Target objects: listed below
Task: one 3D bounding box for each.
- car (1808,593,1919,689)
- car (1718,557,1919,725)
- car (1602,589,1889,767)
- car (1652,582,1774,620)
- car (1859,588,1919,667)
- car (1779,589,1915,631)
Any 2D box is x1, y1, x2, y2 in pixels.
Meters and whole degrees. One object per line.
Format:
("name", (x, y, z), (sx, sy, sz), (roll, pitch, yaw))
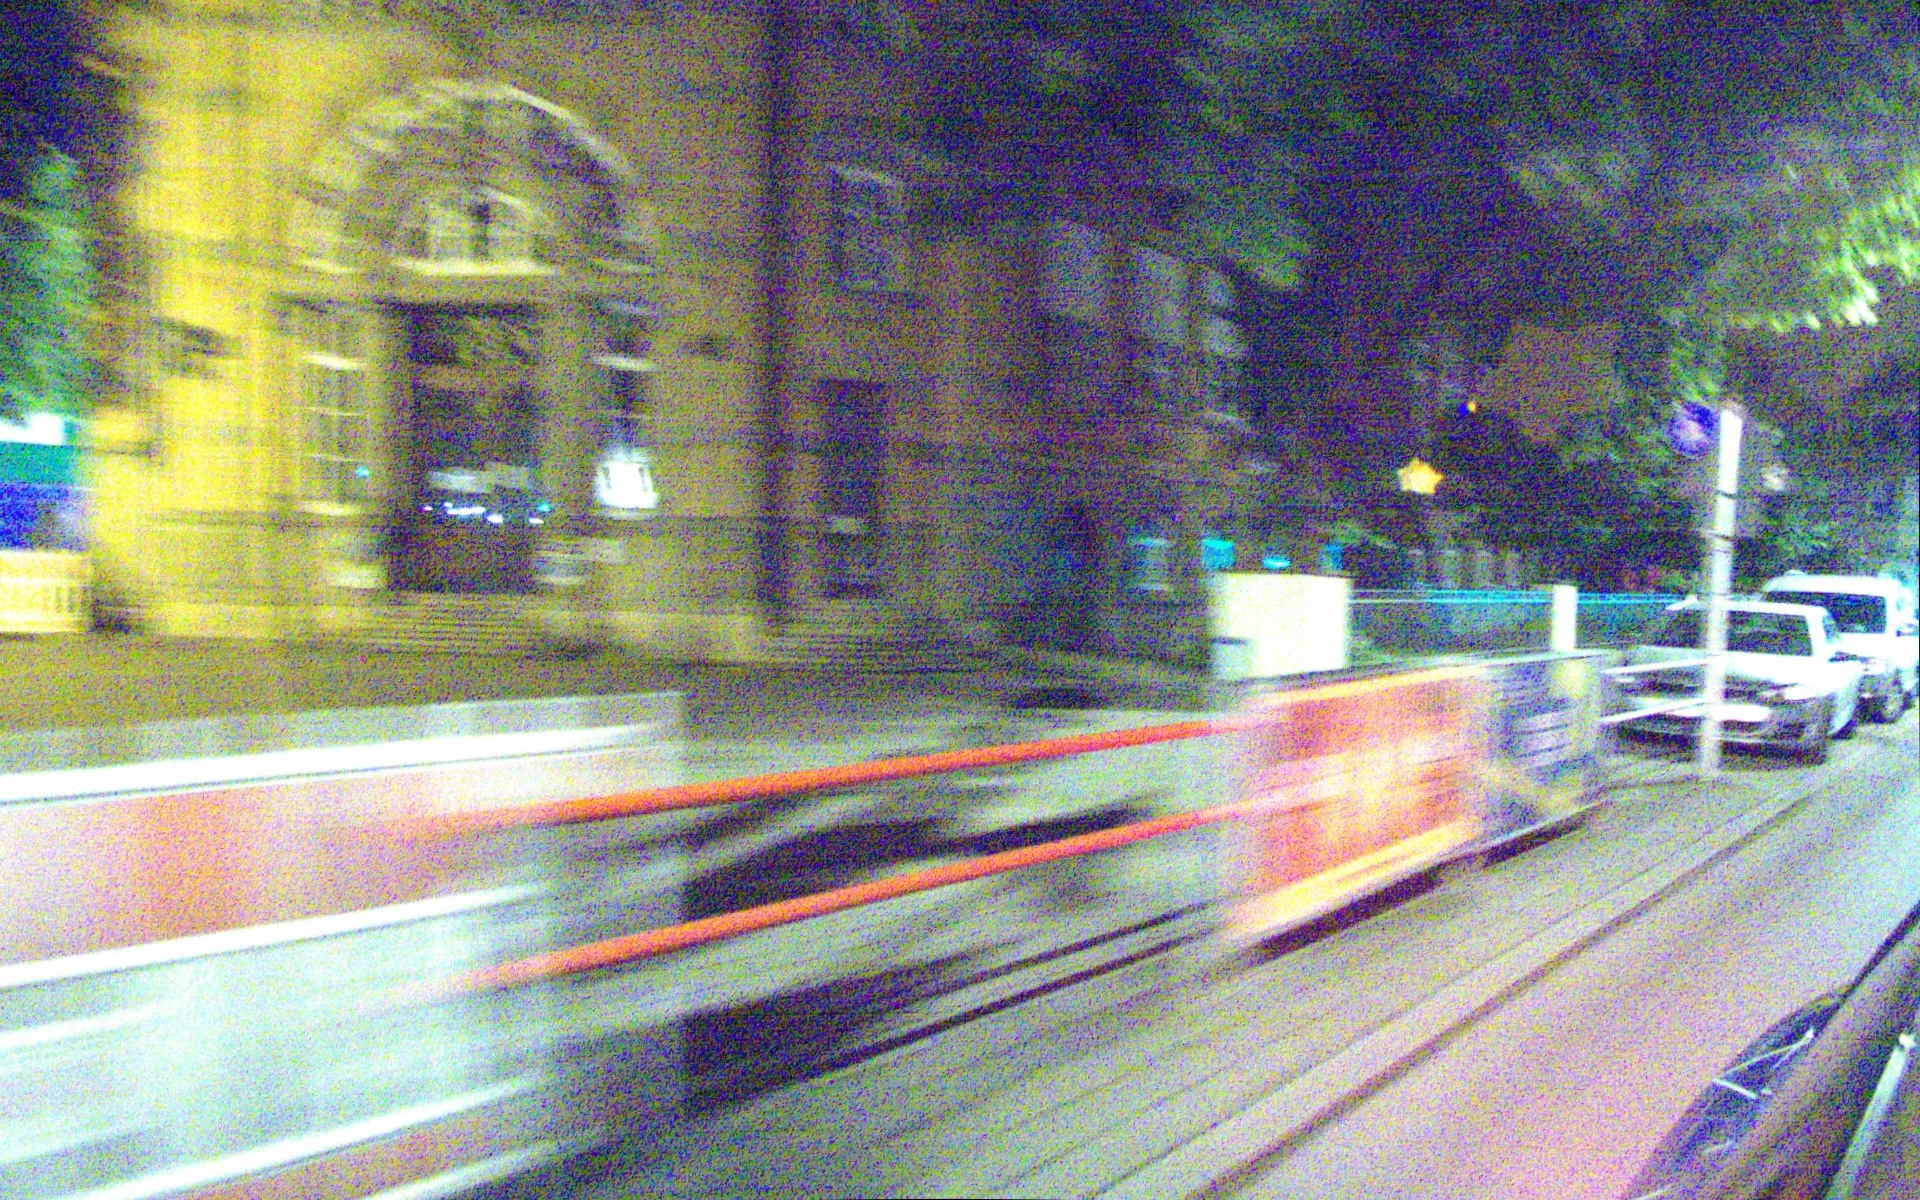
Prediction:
("car", (16.350, 0.654, 17.656), (4.366, 1.438, 1.689), (0, 3, -41))
("car", (11.803, 0.446, 13.637), (4.243, 1.878, 1.738), (0, 3, -43))
("car", (8.363, 0.648, 10.627), (4.251, 1.436, 1.729), (0, 2, -43))
("car", (34.374, 0.015, 46.265), (1.821, 1.485, 4.197), (0, 3, -43))
("car", (20.284, 0.574, 21.076), (3.930, 1.495, 1.744), (0, 4, -41))
("car", (36.745, 0.364, 41.989), (1.821, 1.439, 4.021), (-2, 4, -42))
